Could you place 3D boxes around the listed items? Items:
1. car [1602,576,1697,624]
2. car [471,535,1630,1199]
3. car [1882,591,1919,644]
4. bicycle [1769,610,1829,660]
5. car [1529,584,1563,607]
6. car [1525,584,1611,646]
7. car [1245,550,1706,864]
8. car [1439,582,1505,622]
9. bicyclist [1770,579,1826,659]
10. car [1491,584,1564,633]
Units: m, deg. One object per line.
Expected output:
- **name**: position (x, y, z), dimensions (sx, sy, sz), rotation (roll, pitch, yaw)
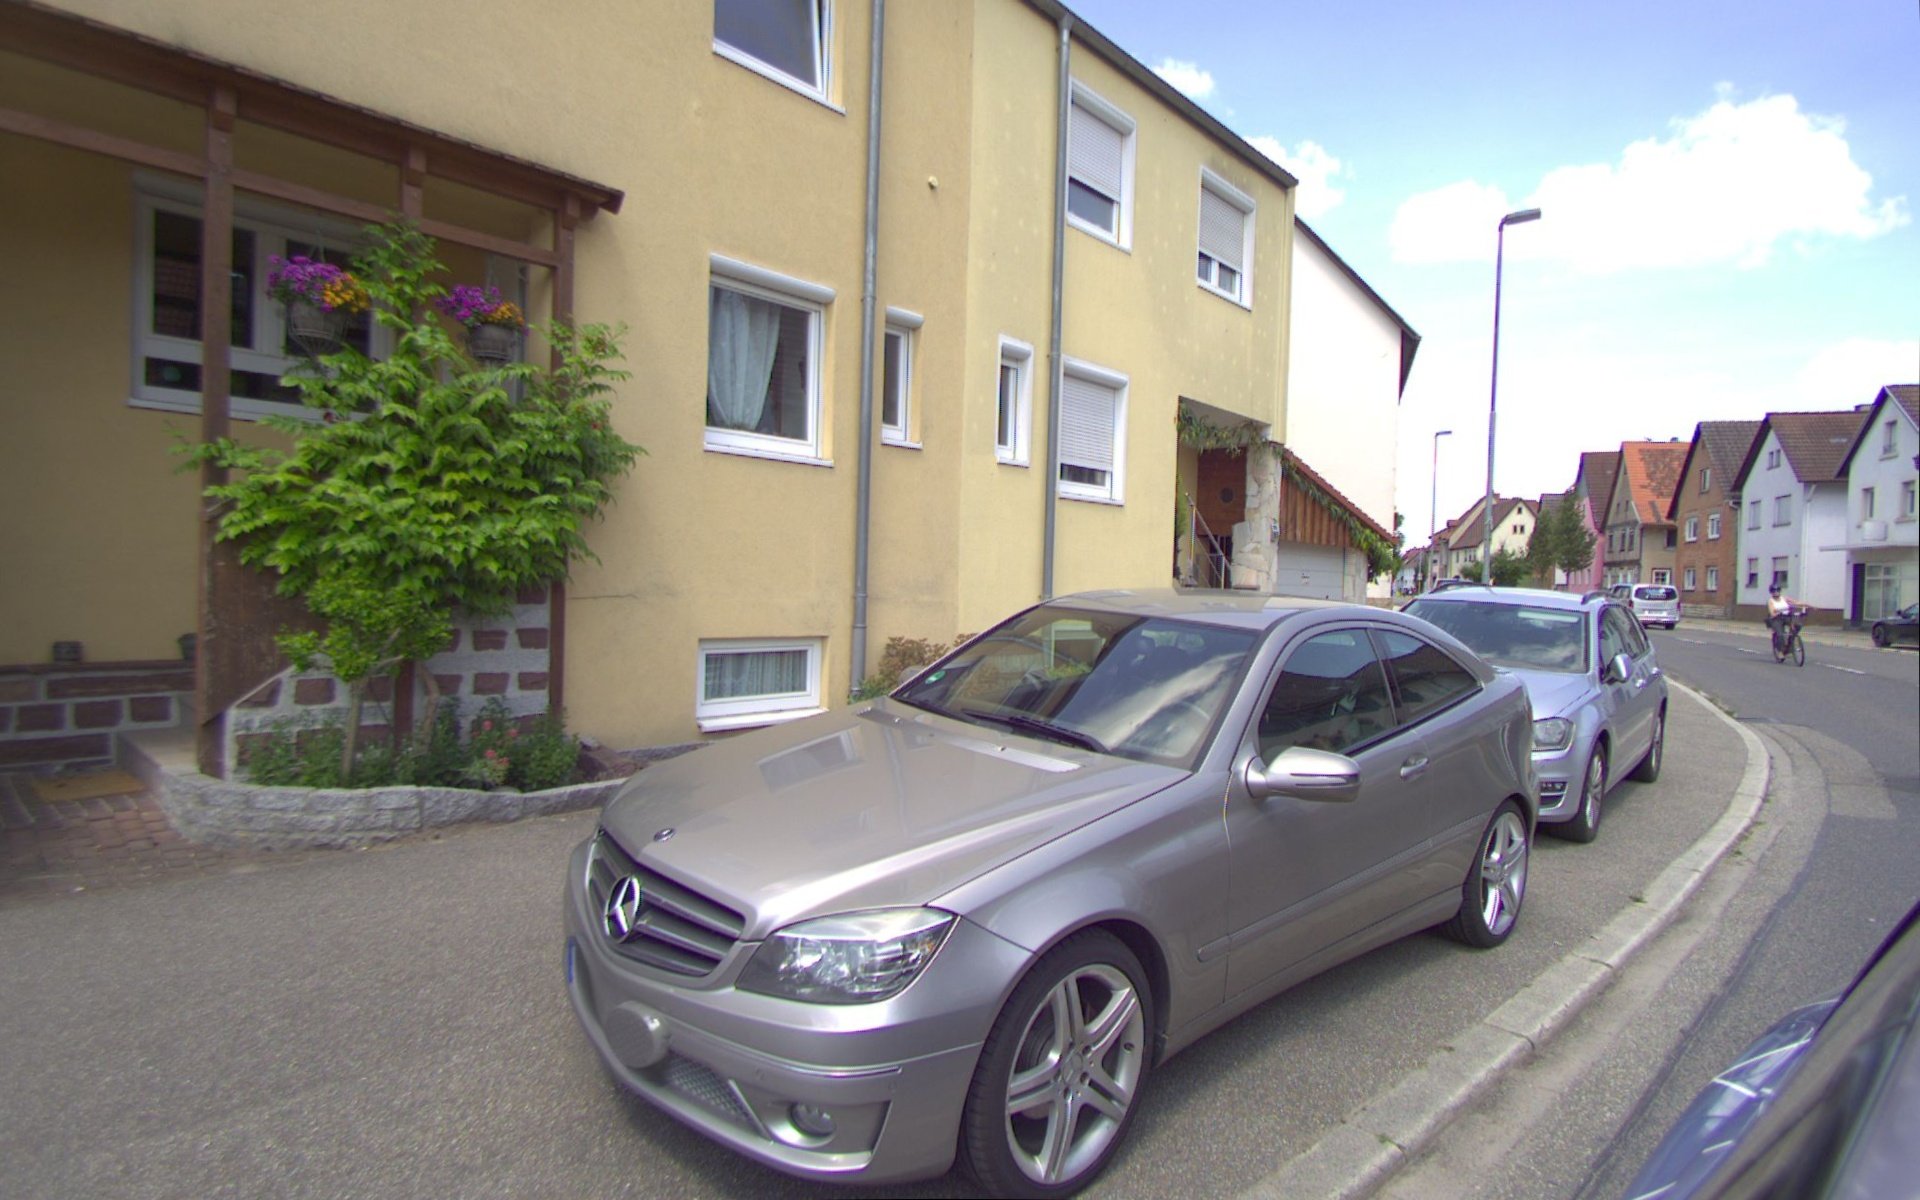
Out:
- **car**: position (28.843, -0.074, 42.532), dimensions (1.973, 1.822, 4.909), rotation (0, 2, 18)
- **car**: position (0.729, 0.542, 3.816), dimensions (4.347, 1.416, 1.775), rotation (-1, 5, -40)
- **car**: position (26.679, 0.483, 26.865), dimensions (1.789, 1.438, 4.516), rotation (0, 0, 23)
- **bicycle**: position (18.397, 0.741, 22.218), dimensions (0.929, 1.024, 1.898), rotation (1, 0, 37)
- **car**: position (42.583, -0.372, 73.584), dimensions (1.665, 1.549, 3.474), rotation (0, 2, 22)
- **car**: position (16.413, 0.335, 27.464), dimensions (1.712, 1.402, 3.962), rotation (3, 3, 28)
- **car**: position (4.006, 0.512, 7.468), dimensions (1.885, 1.548, 4.269), rotation (6, 4, 42)
- **car**: position (22.354, 0.058, 44.307), dimensions (1.641, 1.668, 3.984), rotation (0, 1, 13)
- **bicyclist**: position (18.555, 0.392, 22.429), dimensions (0.905, 1.709, 0.751), rotation (1, 2, 39)
- **car**: position (19.356, 0.306, 34.660), dimensions (1.754, 1.549, 3.967), rotation (2, 0, 23)
